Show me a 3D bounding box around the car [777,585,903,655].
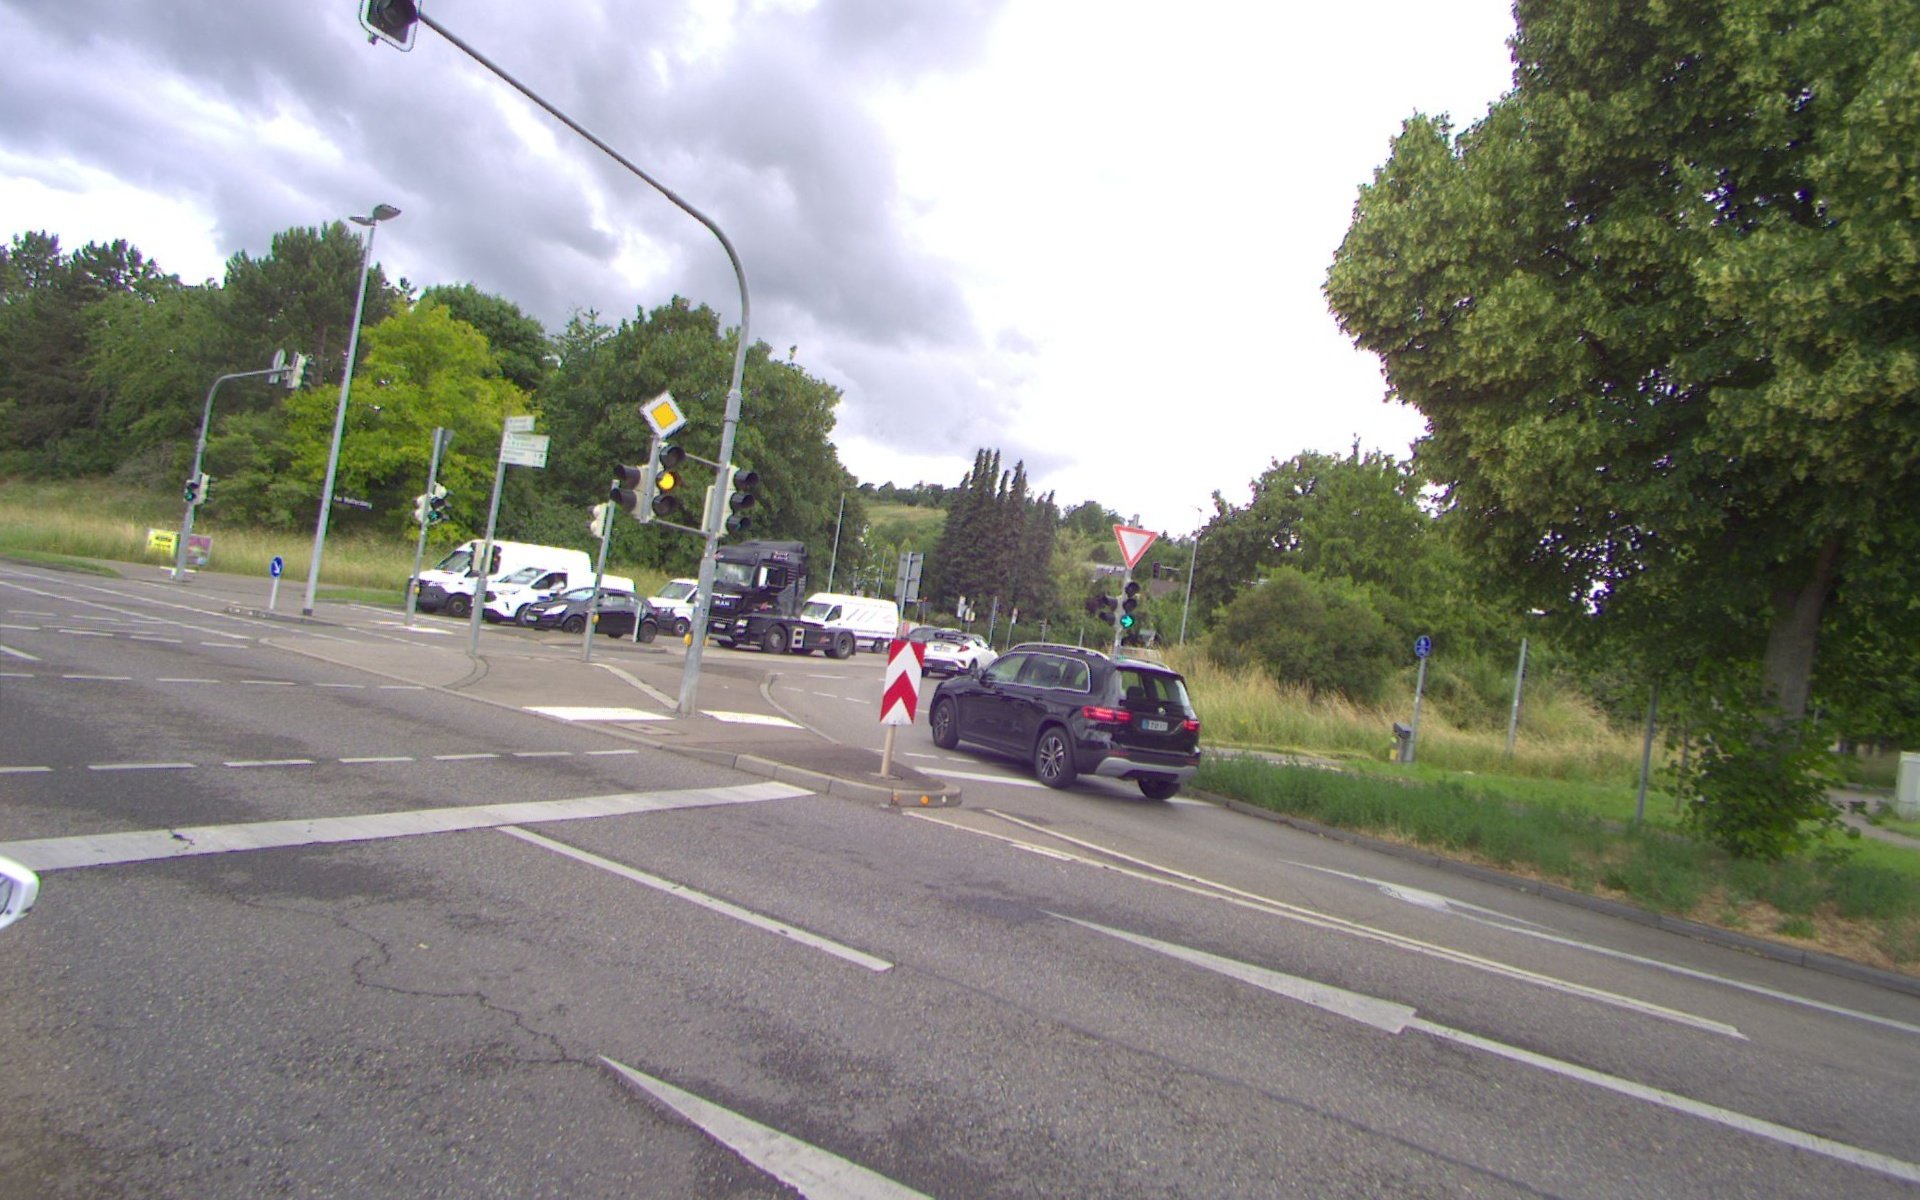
[{"bbox_3d":[-5.667,1.054,48.619,2.160,2.640,6.509,7,-1,32],"label":"car"}]

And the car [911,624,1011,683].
[{"bbox_3d":[0.130,1.750,32.561,1.753,1.553,4.307,8,-1,19],"label":"car"}]

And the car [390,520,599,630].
[{"bbox_3d":[-15.337,-0.735,33.597,2.100,2.814,5.903,7,-1,32],"label":"car"}]

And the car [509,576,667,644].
[{"bbox_3d":[-10.606,0.337,28.929,1.703,1.453,3.927,7,-1,31],"label":"car"}]

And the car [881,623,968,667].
[{"bbox_3d":[-1.461,1.945,43.088,1.703,1.453,3.927,7,-1,31],"label":"car"}]

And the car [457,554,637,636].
[{"bbox_3d":[-12.934,-0.093,31.815,1.999,1.918,4.862,7,-1,31],"label":"car"}]

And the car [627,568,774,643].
[{"bbox_3d":[-10.426,0.291,40.904,2.100,2.316,5.709,7,-1,32],"label":"car"}]

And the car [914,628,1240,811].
[{"bbox_3d":[1.321,1.443,13.289,1.771,1.666,4.393,13,-5,-30],"label":"car"}]

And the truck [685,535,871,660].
[{"bbox_3d":[-6.212,0.026,35.340,2.682,3.580,6.061,7,-1,32],"label":"truck"}]

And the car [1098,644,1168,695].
[{"bbox_3d":[8.711,3.519,50.396,1.889,1.852,4.726,8,-5,28],"label":"car"}]
